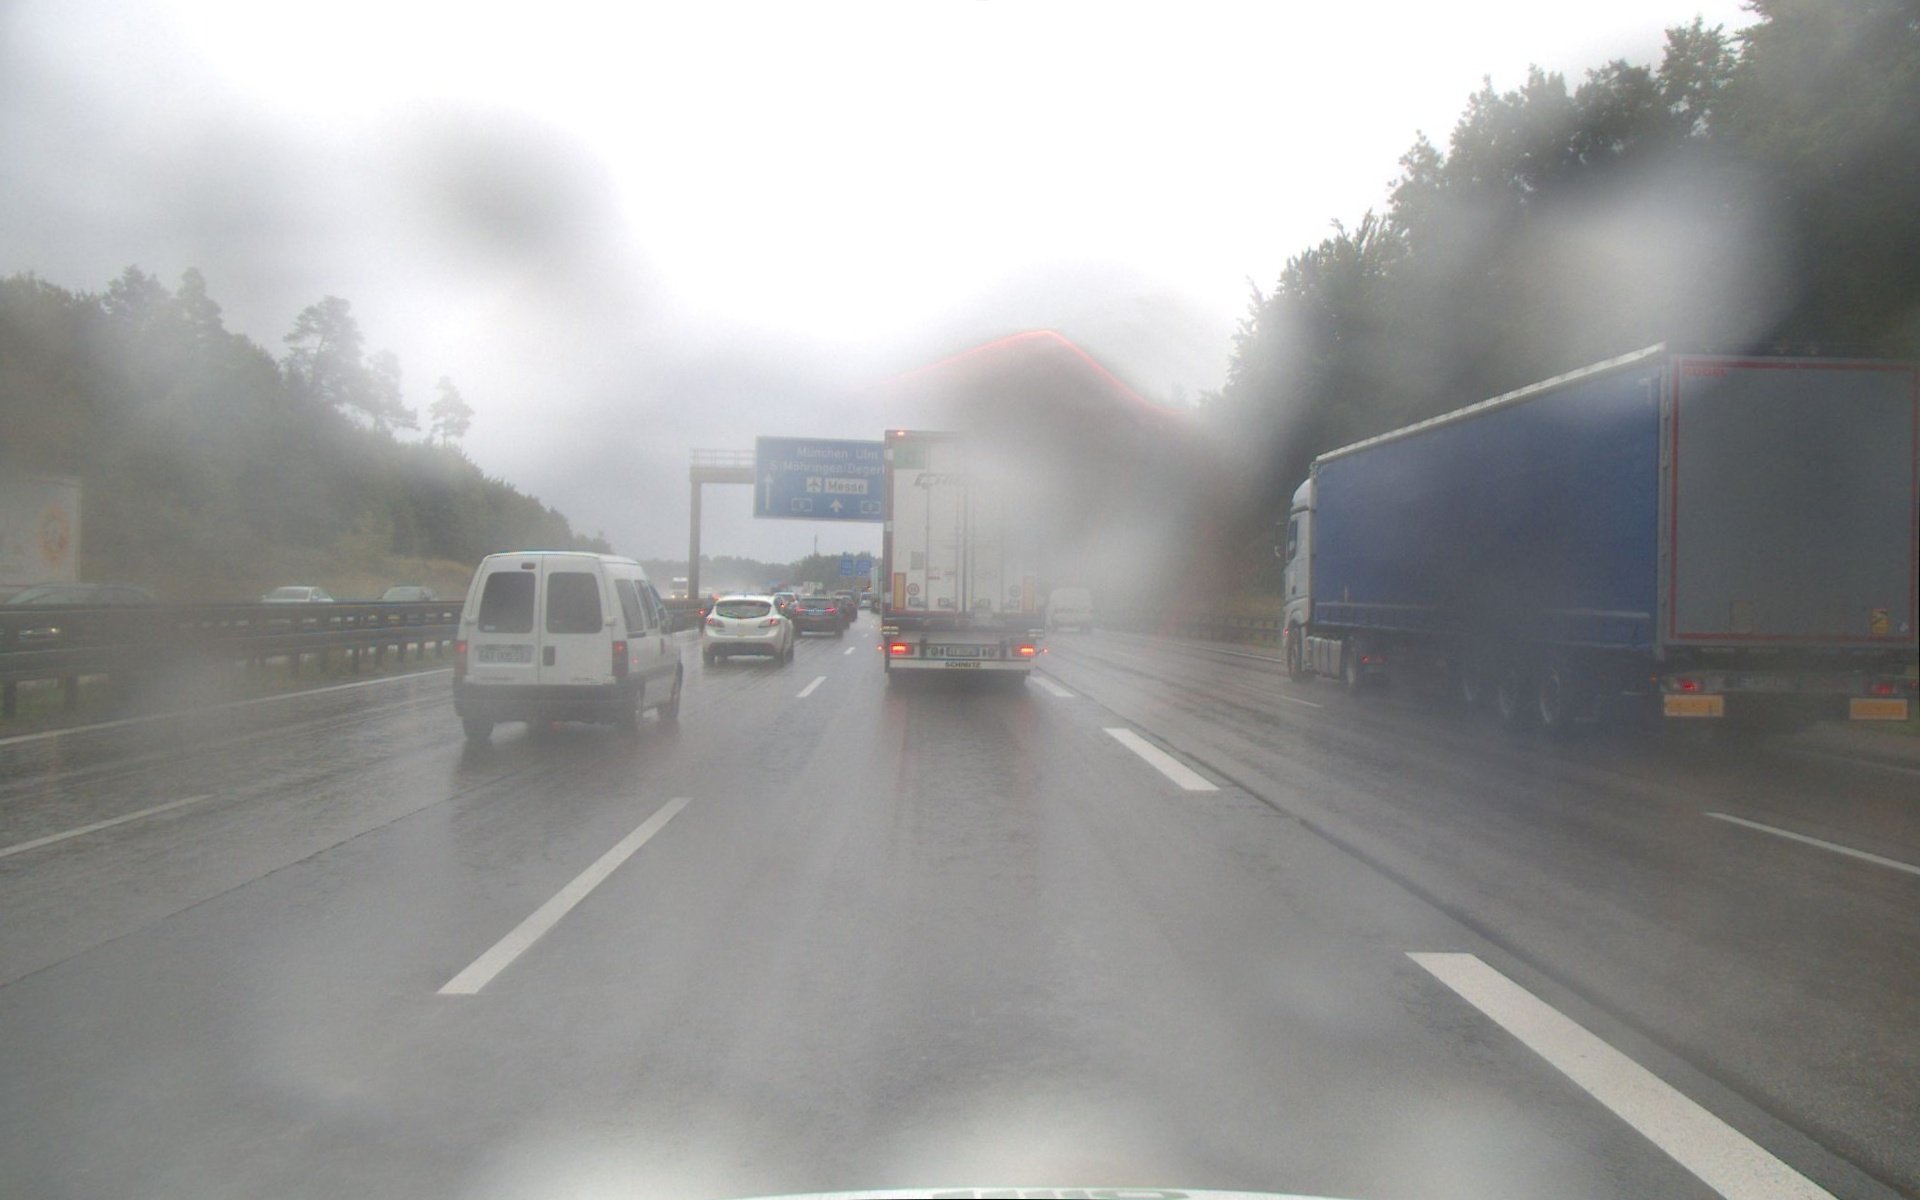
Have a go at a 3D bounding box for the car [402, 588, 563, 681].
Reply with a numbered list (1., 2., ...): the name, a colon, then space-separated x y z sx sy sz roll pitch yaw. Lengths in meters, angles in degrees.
1. car: -9.122 0.609 31.966 1.808 1.619 4.466 1 1 0

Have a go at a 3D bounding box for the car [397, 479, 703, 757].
1. car: -4.300 0.144 18.287 2.168 2.618 5.015 1 1 -1

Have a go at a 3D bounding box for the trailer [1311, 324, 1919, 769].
1. trailer: 7.621 -0.514 22.209 2.502 4.084 13.710 1 0 -2

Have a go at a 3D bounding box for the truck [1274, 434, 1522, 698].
1. truck: 7.432 -0.534 28.885 2.549 4.084 6.010 1 0 -2

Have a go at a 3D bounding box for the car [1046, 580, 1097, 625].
1. car: 5.119 0.085 76.295 1.949 1.954 4.767 1 1 -1

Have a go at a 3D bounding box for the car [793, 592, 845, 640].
1. car: -5.119 0.550 60.414 1.809 1.619 4.463 1 1 -4

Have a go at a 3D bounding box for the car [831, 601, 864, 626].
1. car: -6.500 0.764 95.786 1.809 1.354 4.463 1 1 -4

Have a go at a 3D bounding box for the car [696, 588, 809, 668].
1. car: -4.515 0.575 36.572 1.807 1.619 4.073 1 1 2

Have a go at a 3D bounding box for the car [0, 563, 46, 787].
1. car: -7.820 0.546 10.263 1.808 1.619 4.466 1 1 0

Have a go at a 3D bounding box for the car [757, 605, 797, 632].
1. car: -10.199 1.001 92.358 1.808 1.354 4.466 1 1 -1

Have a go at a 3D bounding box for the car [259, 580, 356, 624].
1. car: -24.072 0.059 61.209 1.822 1.520 4.561 1 0 -1

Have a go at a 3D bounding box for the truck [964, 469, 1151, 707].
1. truck: 1.644 -0.175 31.097 2.813 3.624 11.304 1 0 1

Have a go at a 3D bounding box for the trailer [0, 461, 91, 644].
1. trailer: -22.624 -1.074 34.241 2.489 4.096 13.843 1 0 -3

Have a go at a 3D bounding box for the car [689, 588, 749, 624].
1. car: -9.688 0.220 66.759 1.808 1.354 4.466 1 1 -1
